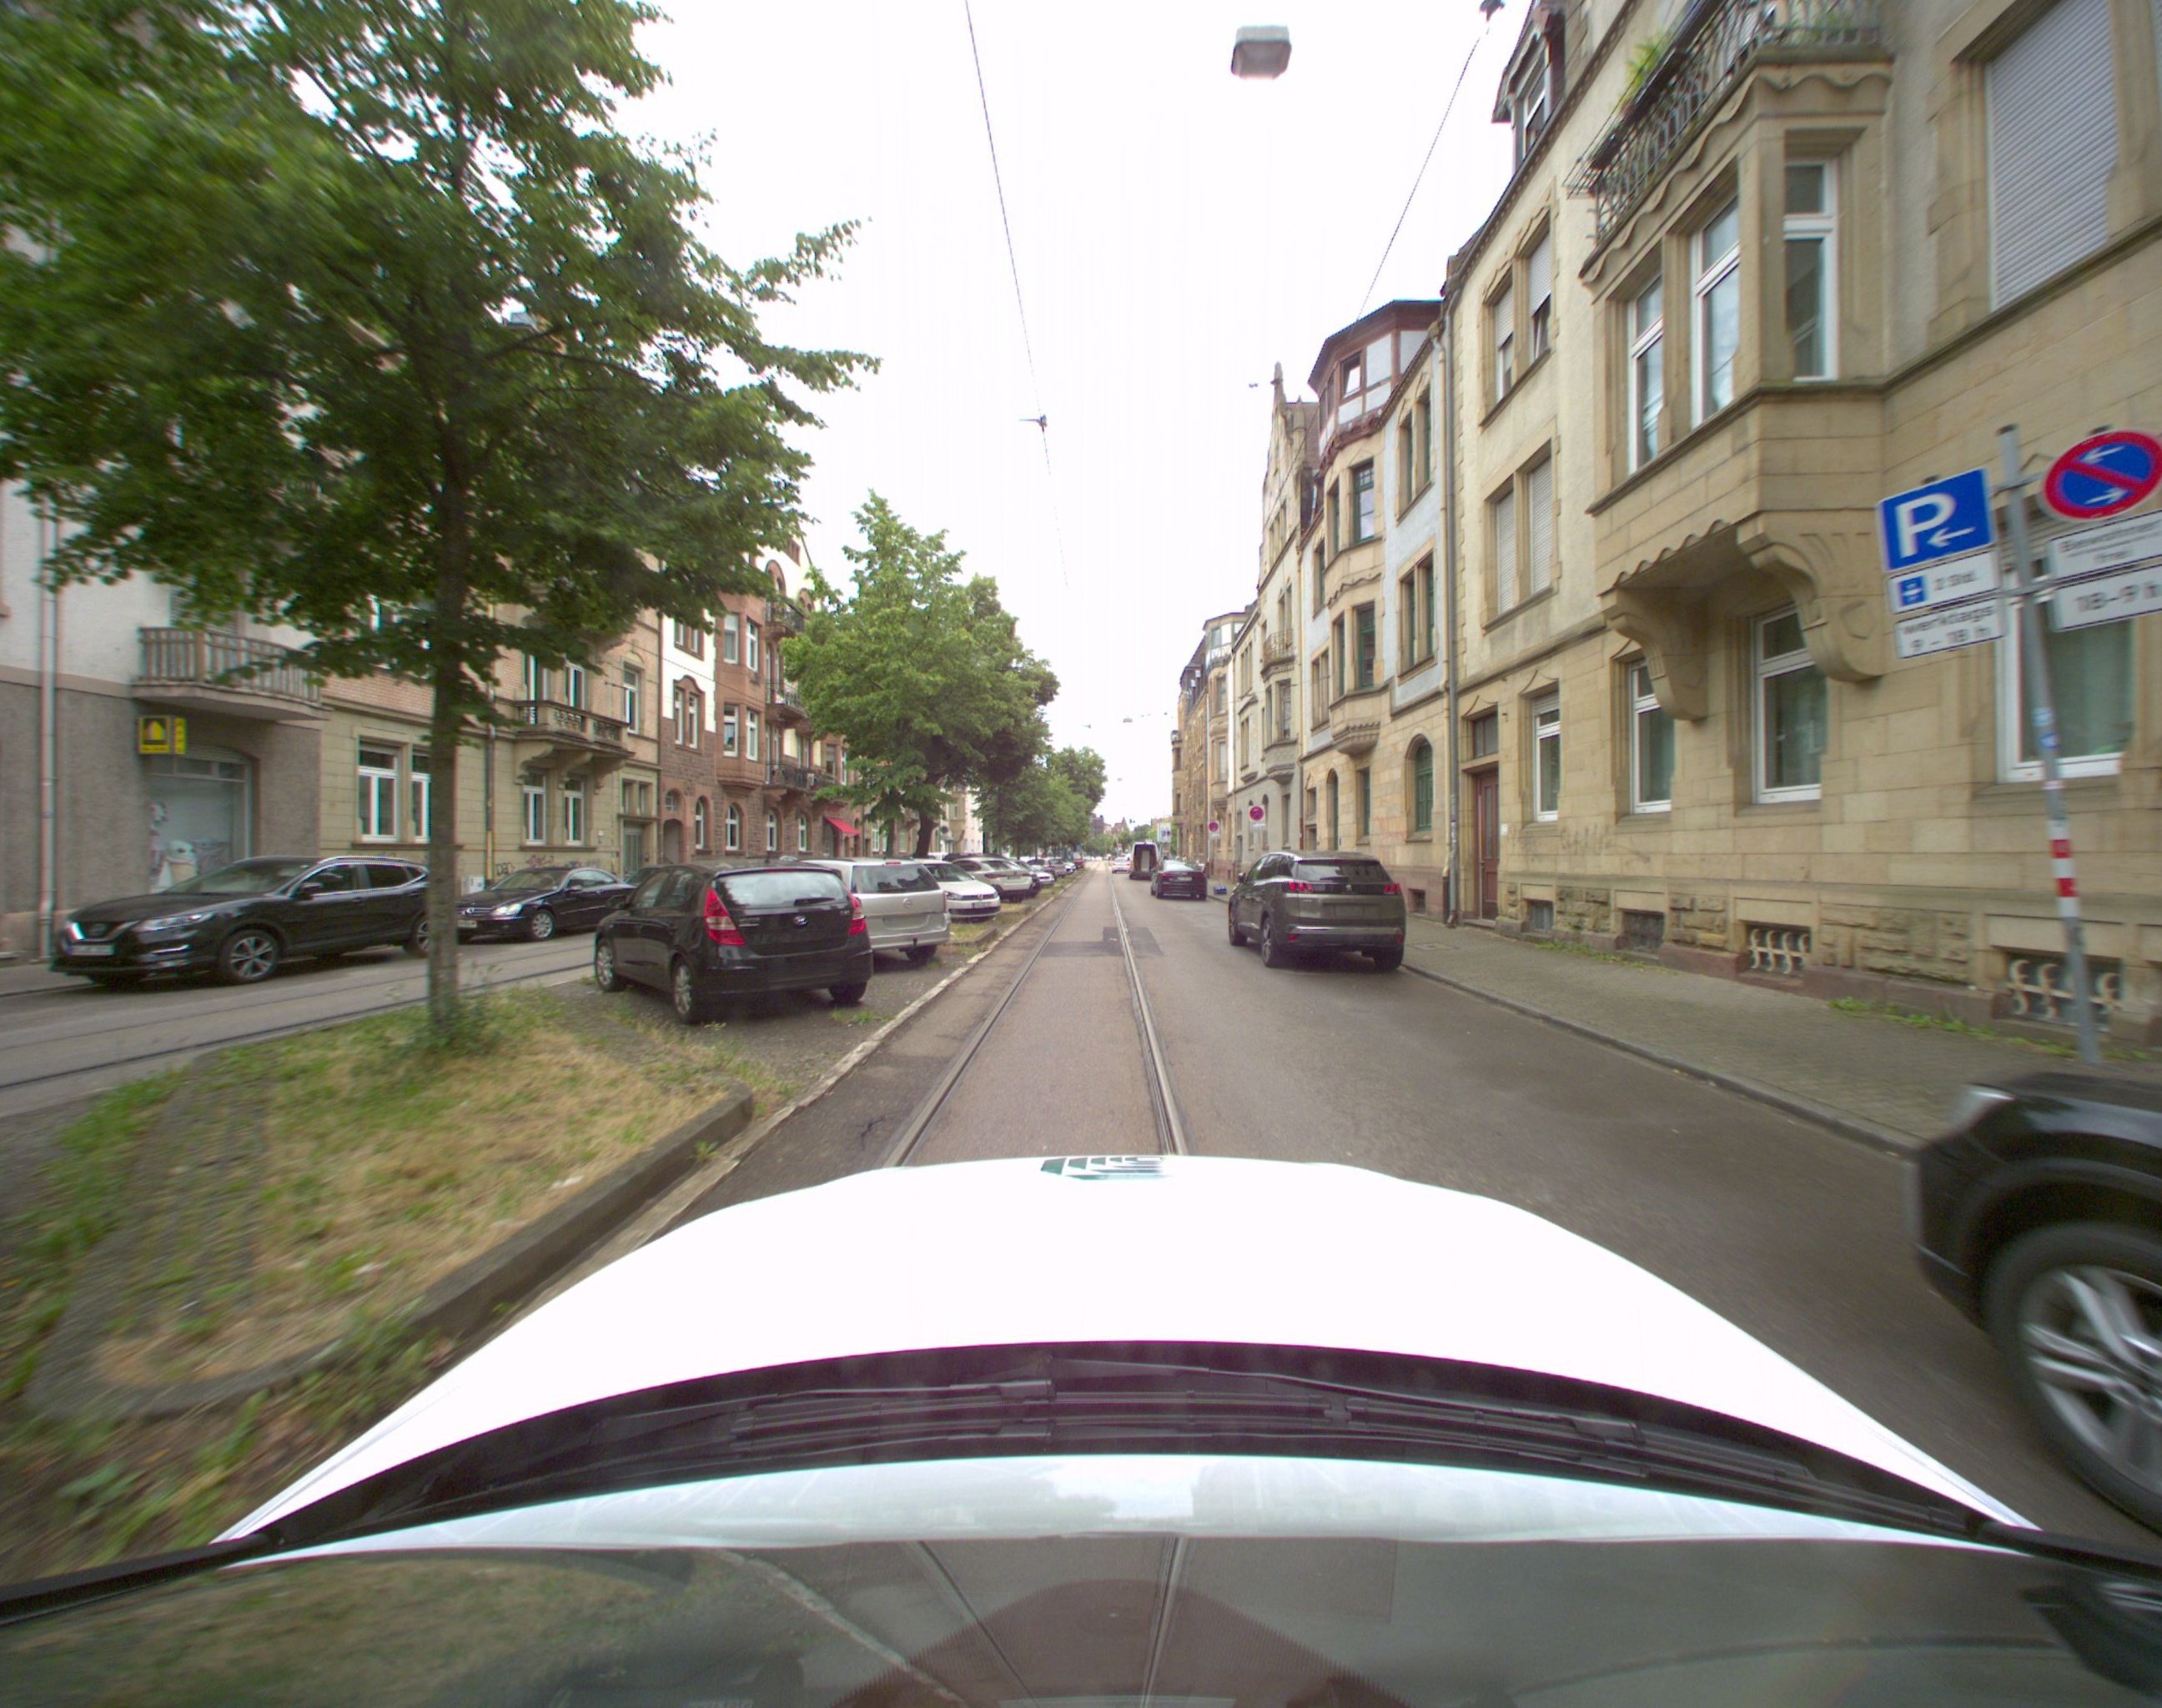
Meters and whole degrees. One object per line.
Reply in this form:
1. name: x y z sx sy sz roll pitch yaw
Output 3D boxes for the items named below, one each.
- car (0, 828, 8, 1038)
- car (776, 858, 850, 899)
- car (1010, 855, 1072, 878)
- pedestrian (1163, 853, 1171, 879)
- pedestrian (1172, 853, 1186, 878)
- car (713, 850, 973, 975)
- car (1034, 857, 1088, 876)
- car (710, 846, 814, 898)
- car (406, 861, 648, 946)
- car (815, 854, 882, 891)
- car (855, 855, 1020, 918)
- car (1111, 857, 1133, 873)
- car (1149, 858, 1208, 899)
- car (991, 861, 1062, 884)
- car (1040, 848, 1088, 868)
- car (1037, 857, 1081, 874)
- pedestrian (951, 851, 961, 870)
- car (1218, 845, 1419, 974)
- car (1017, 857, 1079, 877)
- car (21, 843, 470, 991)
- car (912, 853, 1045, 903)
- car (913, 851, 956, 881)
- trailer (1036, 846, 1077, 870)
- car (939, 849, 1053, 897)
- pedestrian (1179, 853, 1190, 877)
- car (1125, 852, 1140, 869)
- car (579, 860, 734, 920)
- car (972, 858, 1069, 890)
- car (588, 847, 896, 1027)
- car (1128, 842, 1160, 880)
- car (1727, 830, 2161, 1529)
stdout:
1. car: -3.742 0.645 1.486 4.154 1.609 1.735 -2 -2 43
2. car: -10.628 0.948 32.530 1.656 1.560 3.723 0 -1 1
3. car: -2.680 0.822 54.292 4.065 1.484 1.808 0 0 42
4. pedestrian: 6.092 0.817 57.707 0.497 1.815 0.803 -3 0 3
5. pedestrian: 6.848 0.819 56.950 0.706 1.700 0.489 -2 0 -26
6. car: -3.680 0.716 12.059 1.874 1.493 4.510 1 -1 -43
7. car: -1.647 0.984 65.952 4.286 1.435 1.910 0 0 44
8. car: -10.726 0.580 27.709 1.762 1.628 4.321 0 -1 1
9. car: -10.865 0.892 16.445 1.798 1.490 4.388 0 -1 1
10. car: -10.613 0.821 37.511 1.734 1.626 4.554 0 -1 1
11. car: -3.491 0.690 19.324 1.874 1.312 4.079 1 0 -44
12. car: 3.881 1.019 75.939 1.773 1.472 4.018 0 0 7
13. car: 3.693 0.884 31.707 1.794 1.438 5.197 0 0 1
14. car: -2.975 0.973 43.939 1.678 1.202 3.914 0 0 -45
15. car: -1.771 0.454 83.003 4.707 1.974 1.972 -1 0 40
16. car: -1.960 1.017 72.222 3.815 1.463 1.700 0 0 44
17. pedestrian: -11.528 0.601 75.262 0.795 1.766 0.900 -1 -1 0
18. car: 3.388 0.704 12.613 1.753 1.622 4.694 0 0 0
19. car: -2.532 0.951 61.914 4.628 1.435 1.910 0 0 41
20. car: -11.112 0.740 11.410 1.798 1.680 4.273 0 -1 1
21. car: -3.425 0.757 26.629 2.047 1.490 4.485 1 -1 -45
22. car: -9.940 0.808 55.586 1.874 1.952 5.094 0 -1 1
23. trailer: -2.425 0.416 80.184 3.624 2.344 1.943 -1 0 34
24. car: -3.182 0.676 29.845 1.775 1.633 4.477 1 -1 -45
25. pedestrian: 7.347 0.776 57.784 0.507 1.717 0.579 -2 0 -9
26. car: 6.118 0.792 97.166 1.775 1.962 4.386 0 0 3
27. car: -10.989 0.881 21.458 1.798 1.438 4.230 0 -1 1
28. car: -2.791 0.875 36.870 4.610 1.368 1.768 0 0 44
29. car: -3.817 0.693 8.798 1.786 1.485 3.951 0 0 -43
30. car: 4.488 0.508 58.926 2.005 2.549 7.021 1 0 3
31. car: 3.216 0.741 0.754 1.692 1.513 4.419 3 0 0
